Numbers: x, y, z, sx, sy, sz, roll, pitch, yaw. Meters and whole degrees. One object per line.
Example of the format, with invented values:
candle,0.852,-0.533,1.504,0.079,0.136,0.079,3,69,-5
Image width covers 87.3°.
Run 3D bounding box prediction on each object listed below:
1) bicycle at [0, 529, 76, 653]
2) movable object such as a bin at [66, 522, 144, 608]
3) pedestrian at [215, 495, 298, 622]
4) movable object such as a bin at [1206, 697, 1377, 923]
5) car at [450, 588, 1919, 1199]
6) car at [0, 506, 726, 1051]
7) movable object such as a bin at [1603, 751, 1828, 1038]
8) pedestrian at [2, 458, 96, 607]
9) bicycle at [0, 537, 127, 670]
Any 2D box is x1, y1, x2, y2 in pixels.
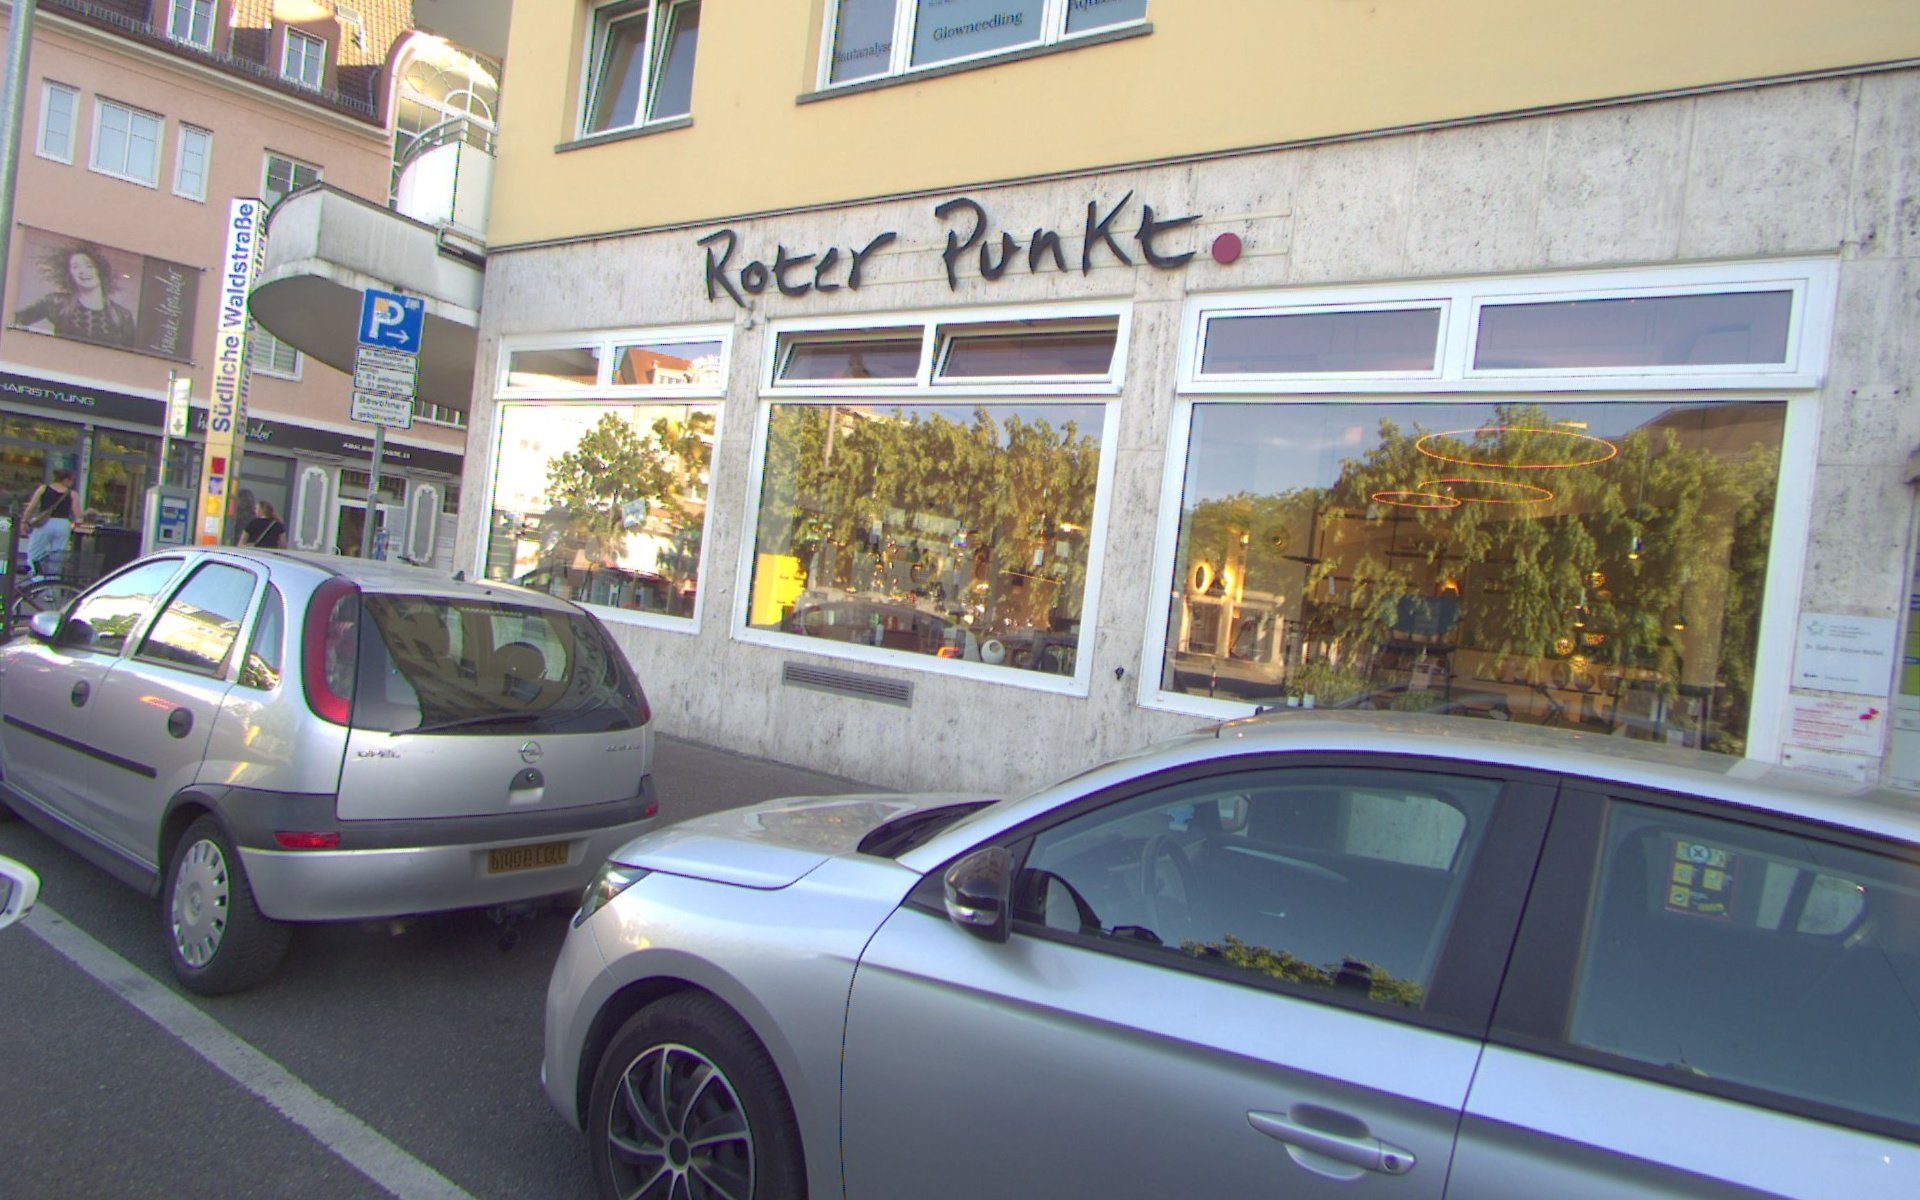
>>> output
bicycle,-9.062,-0.152,8.804,0.642,1.072,1.816,7,-1,33
movable object such as a bin,-11.962,-0.490,14.071,0.716,1.117,0.636,7,2,35
pedestrian,-10.448,-0.613,14.941,0.776,1.777,0.720,6,2,38
movable object such as a bin,1.819,1.095,5.483,0.639,1.035,0.738,6,-1,31
car,0.774,0.941,2.288,3.624,1.453,1.587,6,-2,30
car,-2.962,0.482,4.467,3.520,1.443,1.587,6,-2,32
movable object such as a bin,3.367,1.263,4.553,0.639,1.035,0.738,6,-1,31
pedestrian,-12.034,-0.889,13.282,0.879,1.875,0.680,6,3,33
bicycle,-8.171,0.001,8.260,0.642,1.057,1.884,7,0,33
